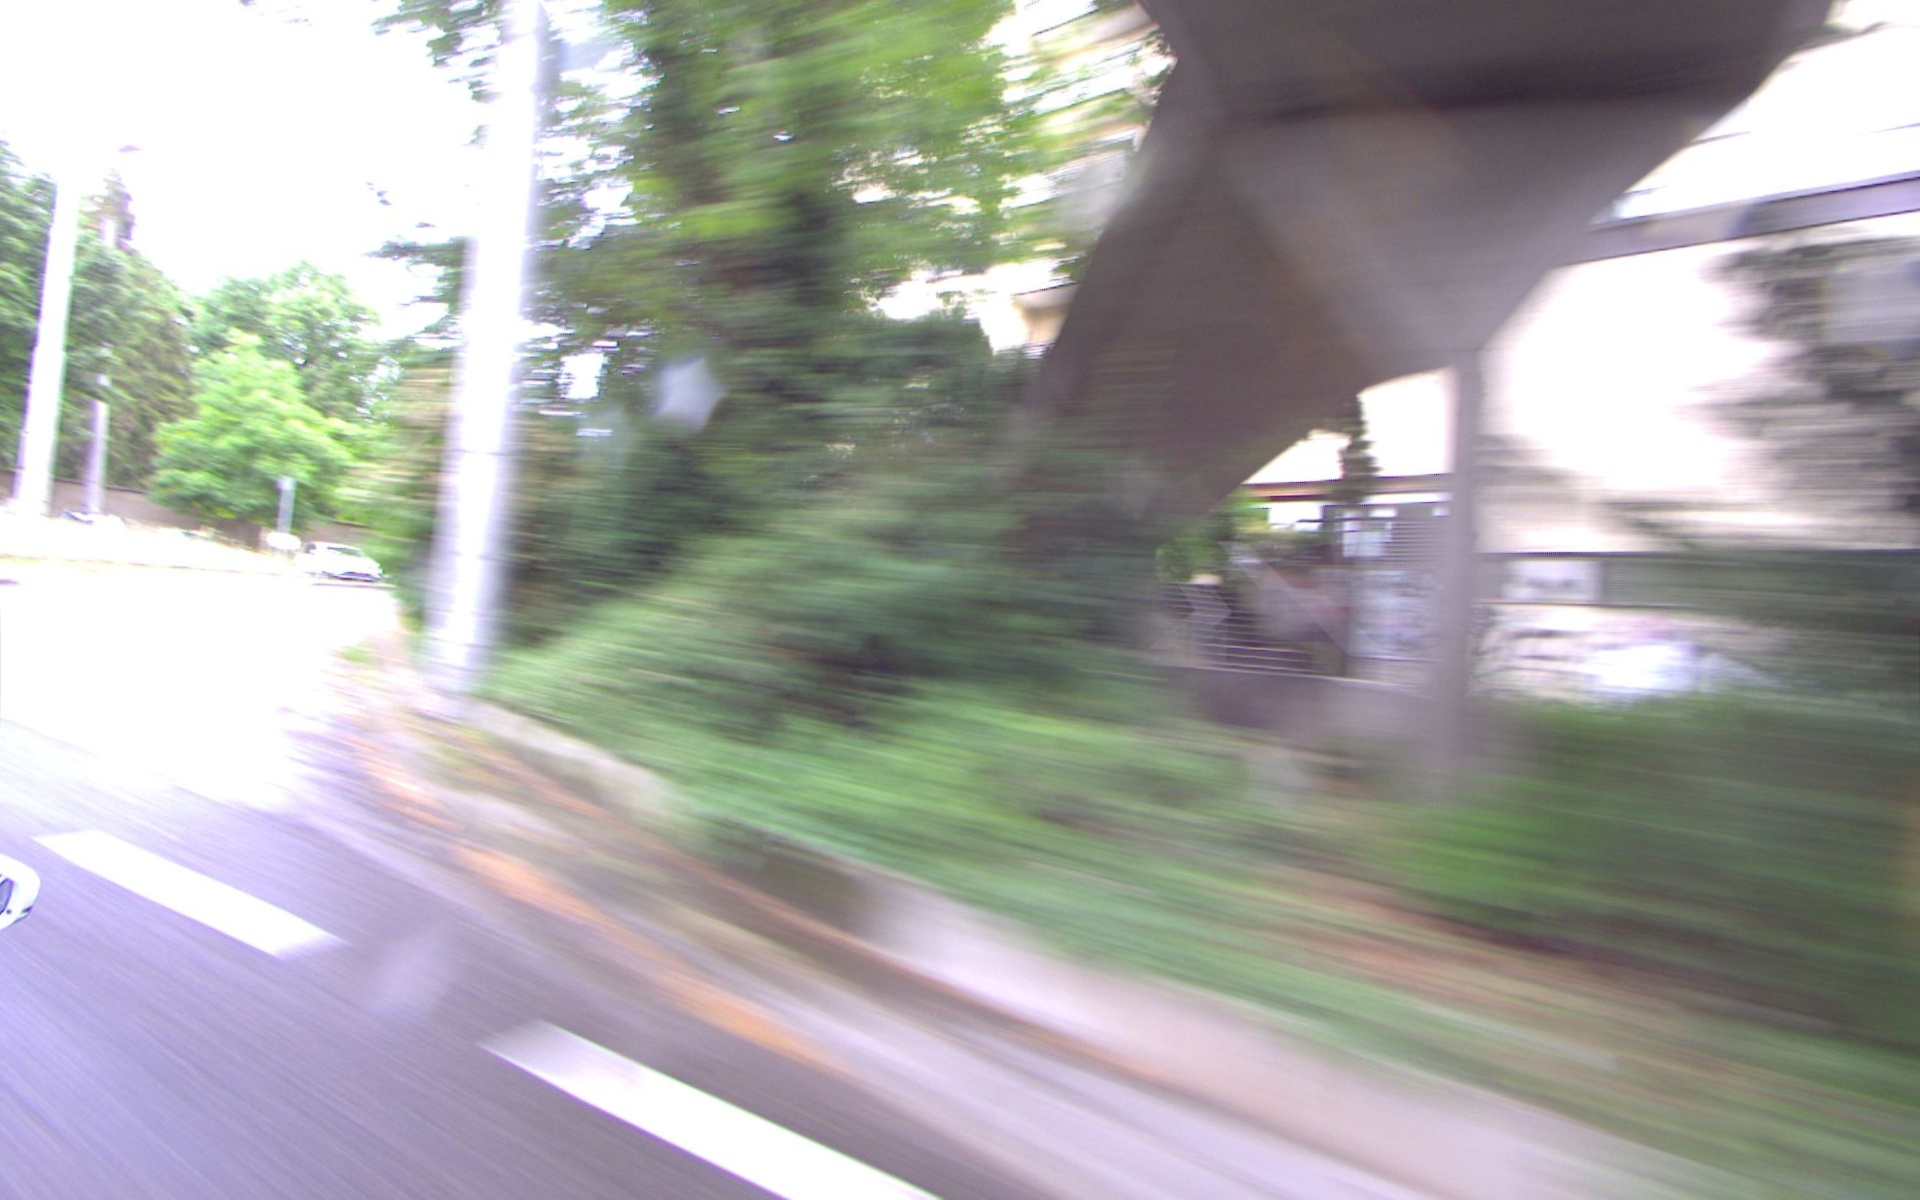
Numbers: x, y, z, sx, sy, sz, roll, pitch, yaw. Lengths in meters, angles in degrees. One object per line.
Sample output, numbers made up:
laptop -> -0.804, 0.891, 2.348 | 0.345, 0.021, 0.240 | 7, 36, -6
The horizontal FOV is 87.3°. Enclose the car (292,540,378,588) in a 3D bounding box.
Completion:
car -> -24.159, -1.345, 38.846 | 4.167, 1.575, 1.779 | 1, -4, 44

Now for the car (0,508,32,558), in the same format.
car -> -30.604, -2.156, 31.570 | 3.948, 1.422, 1.750 | 3, -3, 43

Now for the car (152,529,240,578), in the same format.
car -> -26.688, -1.595, 35.114 | 3.950, 1.407, 1.780 | 2, -4, 44
